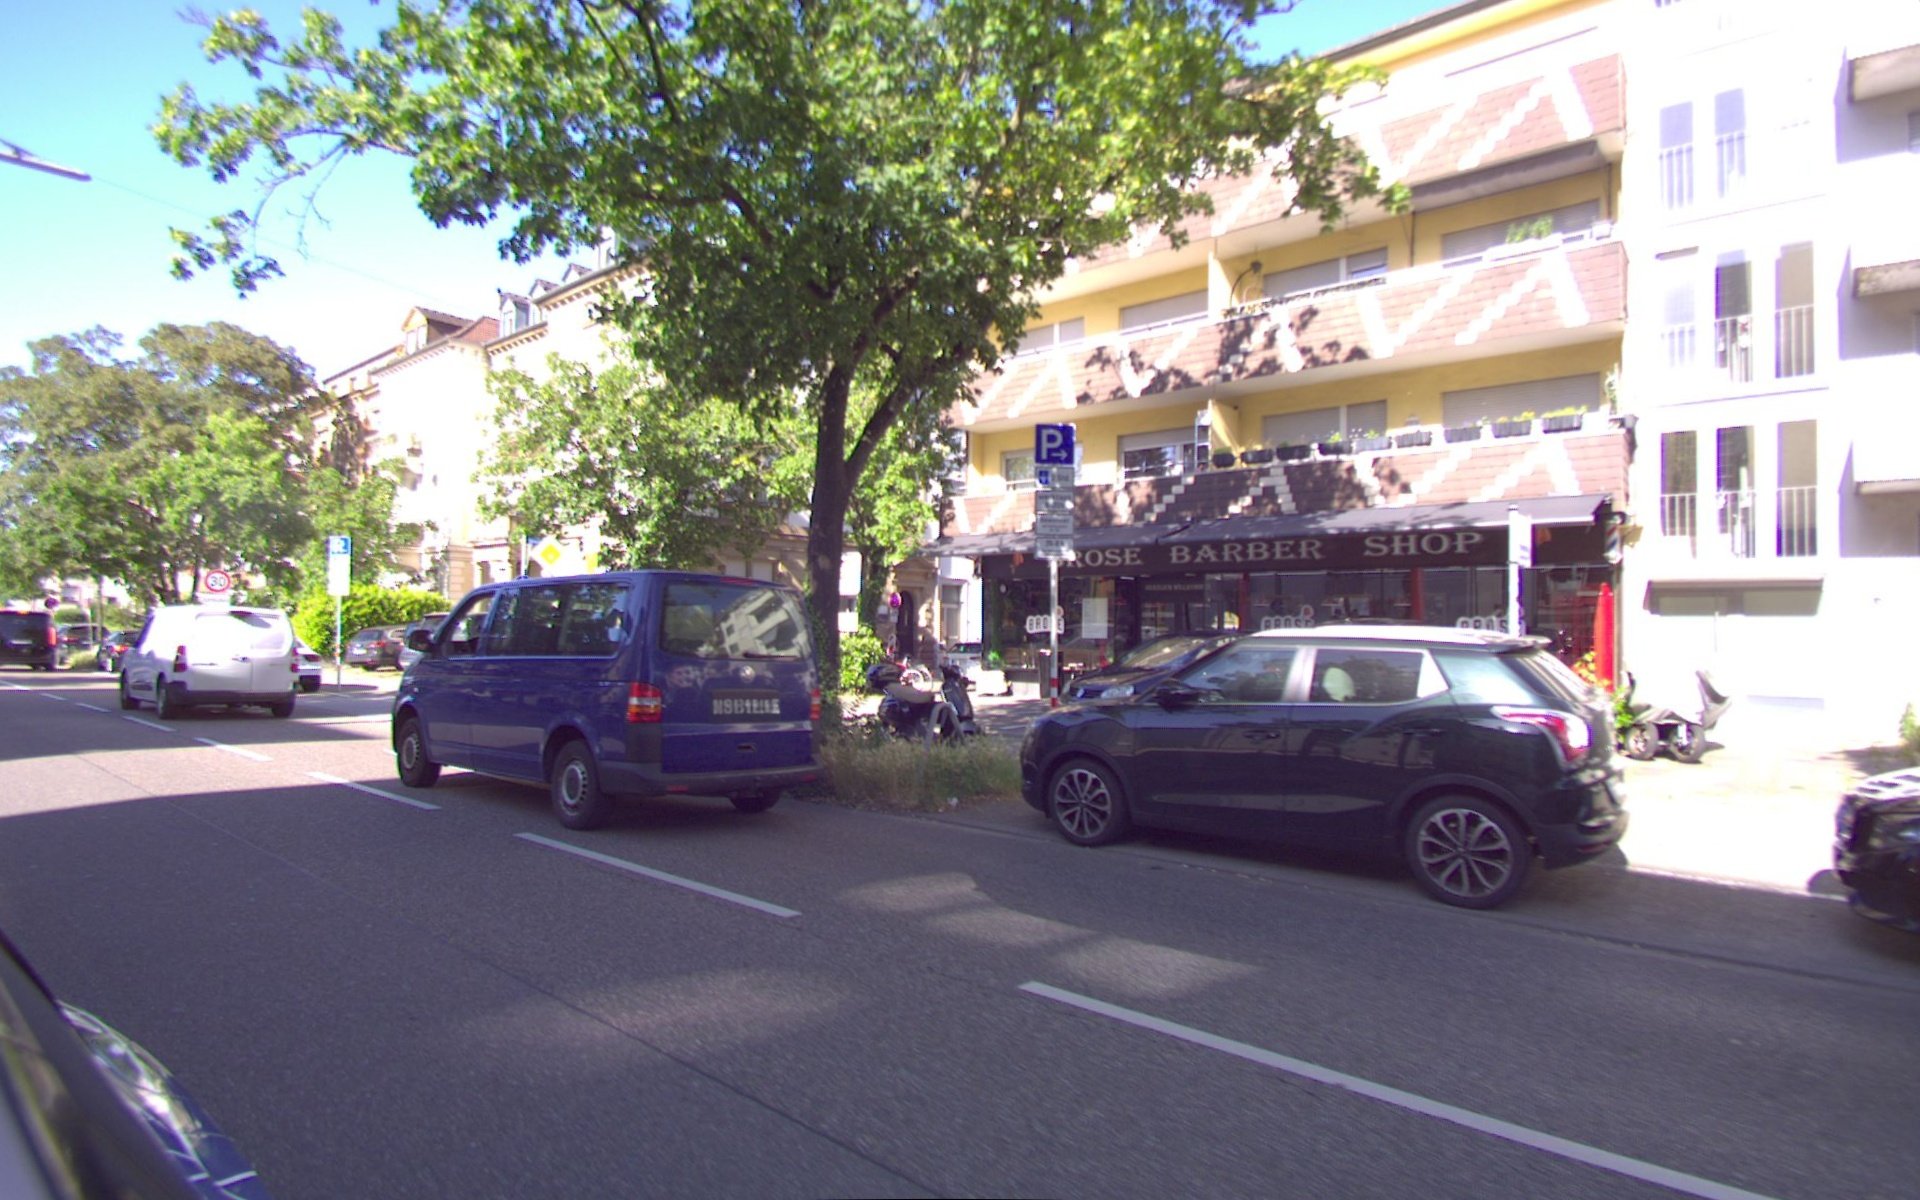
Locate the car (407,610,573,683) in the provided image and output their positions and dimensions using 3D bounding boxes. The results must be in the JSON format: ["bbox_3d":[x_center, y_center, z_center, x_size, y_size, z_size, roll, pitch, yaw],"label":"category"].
[{"bbox_3d":[-13.148,1.277,28.635,1.864,1.893,4.303,-1,-2,18],"label":"car"}]

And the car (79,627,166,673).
[{"bbox_3d":[-28.157,1.633,33.971,4.087,1.427,1.620,-1,-1,41],"label":"car"}]

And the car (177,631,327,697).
[{"bbox_3d":[-16.951,1.458,24.139,4.799,1.400,1.814,-1,-2,41],"label":"car"}]

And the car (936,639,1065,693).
[{"bbox_3d":[1.219,1.873,29.059,1.646,1.453,3.945,-3,-4,40],"label":"car"}]

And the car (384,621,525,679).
[{"bbox_3d":[-15.317,1.482,30.881,1.666,1.657,3.899,-1,-2,17],"label":"car"}]

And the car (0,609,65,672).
[{"bbox_3d":[-31.594,1.336,33.603,5.174,1.967,1.995,-1,-5,40],"label":"car"}]

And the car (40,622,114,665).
[{"bbox_3d":[-35.074,1.707,40.155,4.345,1.600,1.608,-1,-1,40],"label":"car"}]

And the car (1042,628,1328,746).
[{"bbox_3d":[3.315,1.170,14.763,3.932,1.467,1.738,0,-2,-31],"label":"car"}]

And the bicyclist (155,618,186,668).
[{"bbox_3d":[-29.485,1.586,37.782,1.054,1.838,0.651,-1,-3,41],"label":"bicyclist"}]

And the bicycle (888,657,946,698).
[{"bbox_3d":[-1.087,1.916,25.214,0.398,0.988,1.760,3,-4,-43],"label":"bicycle"}]

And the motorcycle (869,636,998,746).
[{"bbox_3d":[-0.331,0.977,11.330,0.455,1.134,1.719,1,-2,-41],"label":"motorcycle"}]

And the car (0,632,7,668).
[{"bbox_3d":[-41.258,2.010,42.200,4.170,1.464,1.674,-1,-5,40],"label":"car"}]

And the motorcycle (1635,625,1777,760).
[{"bbox_3d":[9.070,1.062,12.269,2.122,1.497,0.783,1,-2,-37],"label":"motorcycle"}]

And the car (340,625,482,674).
[{"bbox_3d":[-18.259,1.609,33.770,1.633,1.500,3.863,-2,-2,44],"label":"car"}]

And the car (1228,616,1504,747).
[{"bbox_3d":[5.433,0.964,13.350,3.937,1.472,1.735,1,-2,-41],"label":"car"}]

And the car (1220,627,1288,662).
[{"bbox_3d":[12.785,1.955,43.893,1.492,1.453,3.612,-3,-4,40],"label":"car"}]

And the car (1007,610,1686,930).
[{"bbox_3d":[2.471,0.896,7.117,4.134,1.608,1.704,-1,-1,41],"label":"car"}]

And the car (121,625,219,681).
[{"bbox_3d":[-23.708,1.529,30.314,4.007,1.566,1.660,-2,-2,42],"label":"car"}]

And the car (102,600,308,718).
[{"bbox_3d":[-12.959,0.978,17.273,4.490,1.756,1.797,-1,-5,41],"label":"car"}]

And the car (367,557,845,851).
[{"bbox_3d":[-3.300,0.779,8.880,4.709,1.925,1.784,-1,-5,41],"label":"car"}]

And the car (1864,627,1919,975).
[{"bbox_3d":[6.530,0.887,3.747,4.678,1.547,1.704,-1,-1,41],"label":"car"}]
